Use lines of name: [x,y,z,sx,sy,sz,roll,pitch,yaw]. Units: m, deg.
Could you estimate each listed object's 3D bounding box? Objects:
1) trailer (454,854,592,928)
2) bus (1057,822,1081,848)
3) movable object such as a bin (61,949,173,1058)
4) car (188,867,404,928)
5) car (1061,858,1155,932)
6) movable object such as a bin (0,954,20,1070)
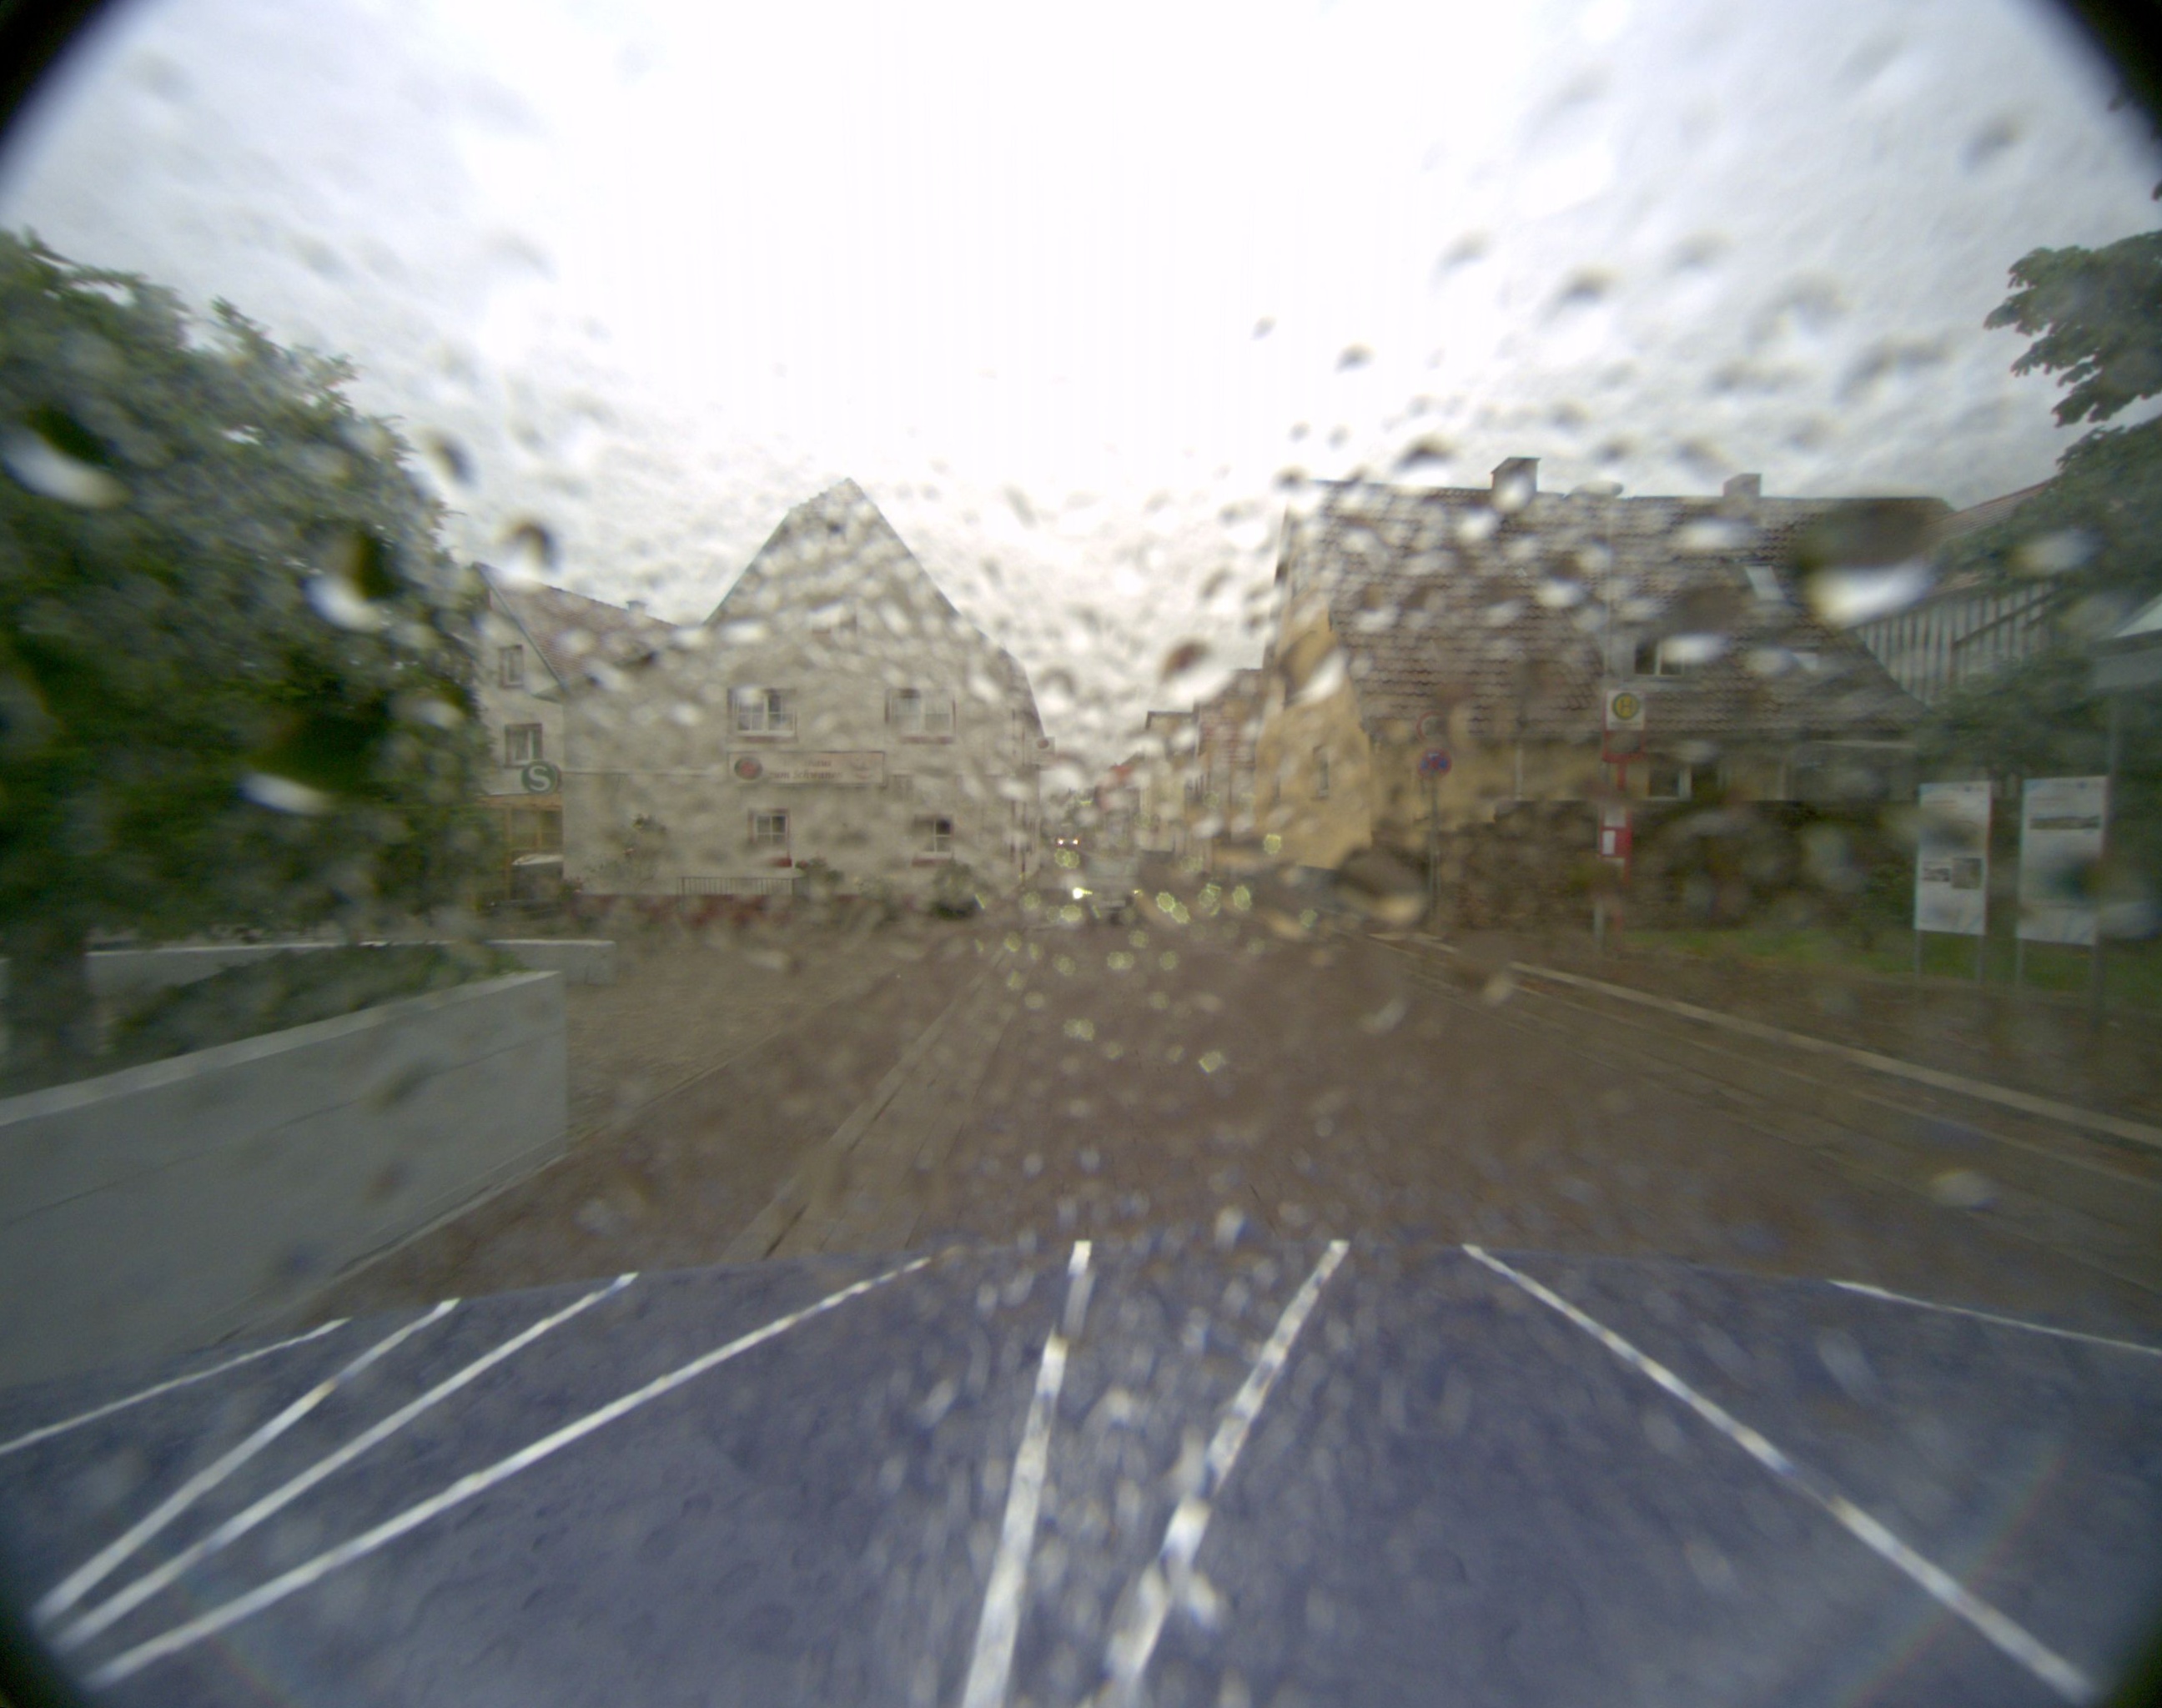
trailer: [-14.352,0.894,19.694,1.572,1.732,2.610,-2,1,0]
bus: [-1.860,-2.867,110.679,2.893,3.590,11.970,0,3,-3]
movable object such as a bin: [-9.936,1.515,7.850,0.624,0.943,0.658,-1,2,39]
car: [-21.716,1.146,21.251,1.630,1.368,3.830,0,2,15]
car: [0.580,0.819,16.660,1.800,1.342,3.738,-2,1,2]
movable object such as a bin: [-10.493,1.503,7.081,0.624,1.060,0.571,-1,2,27]
